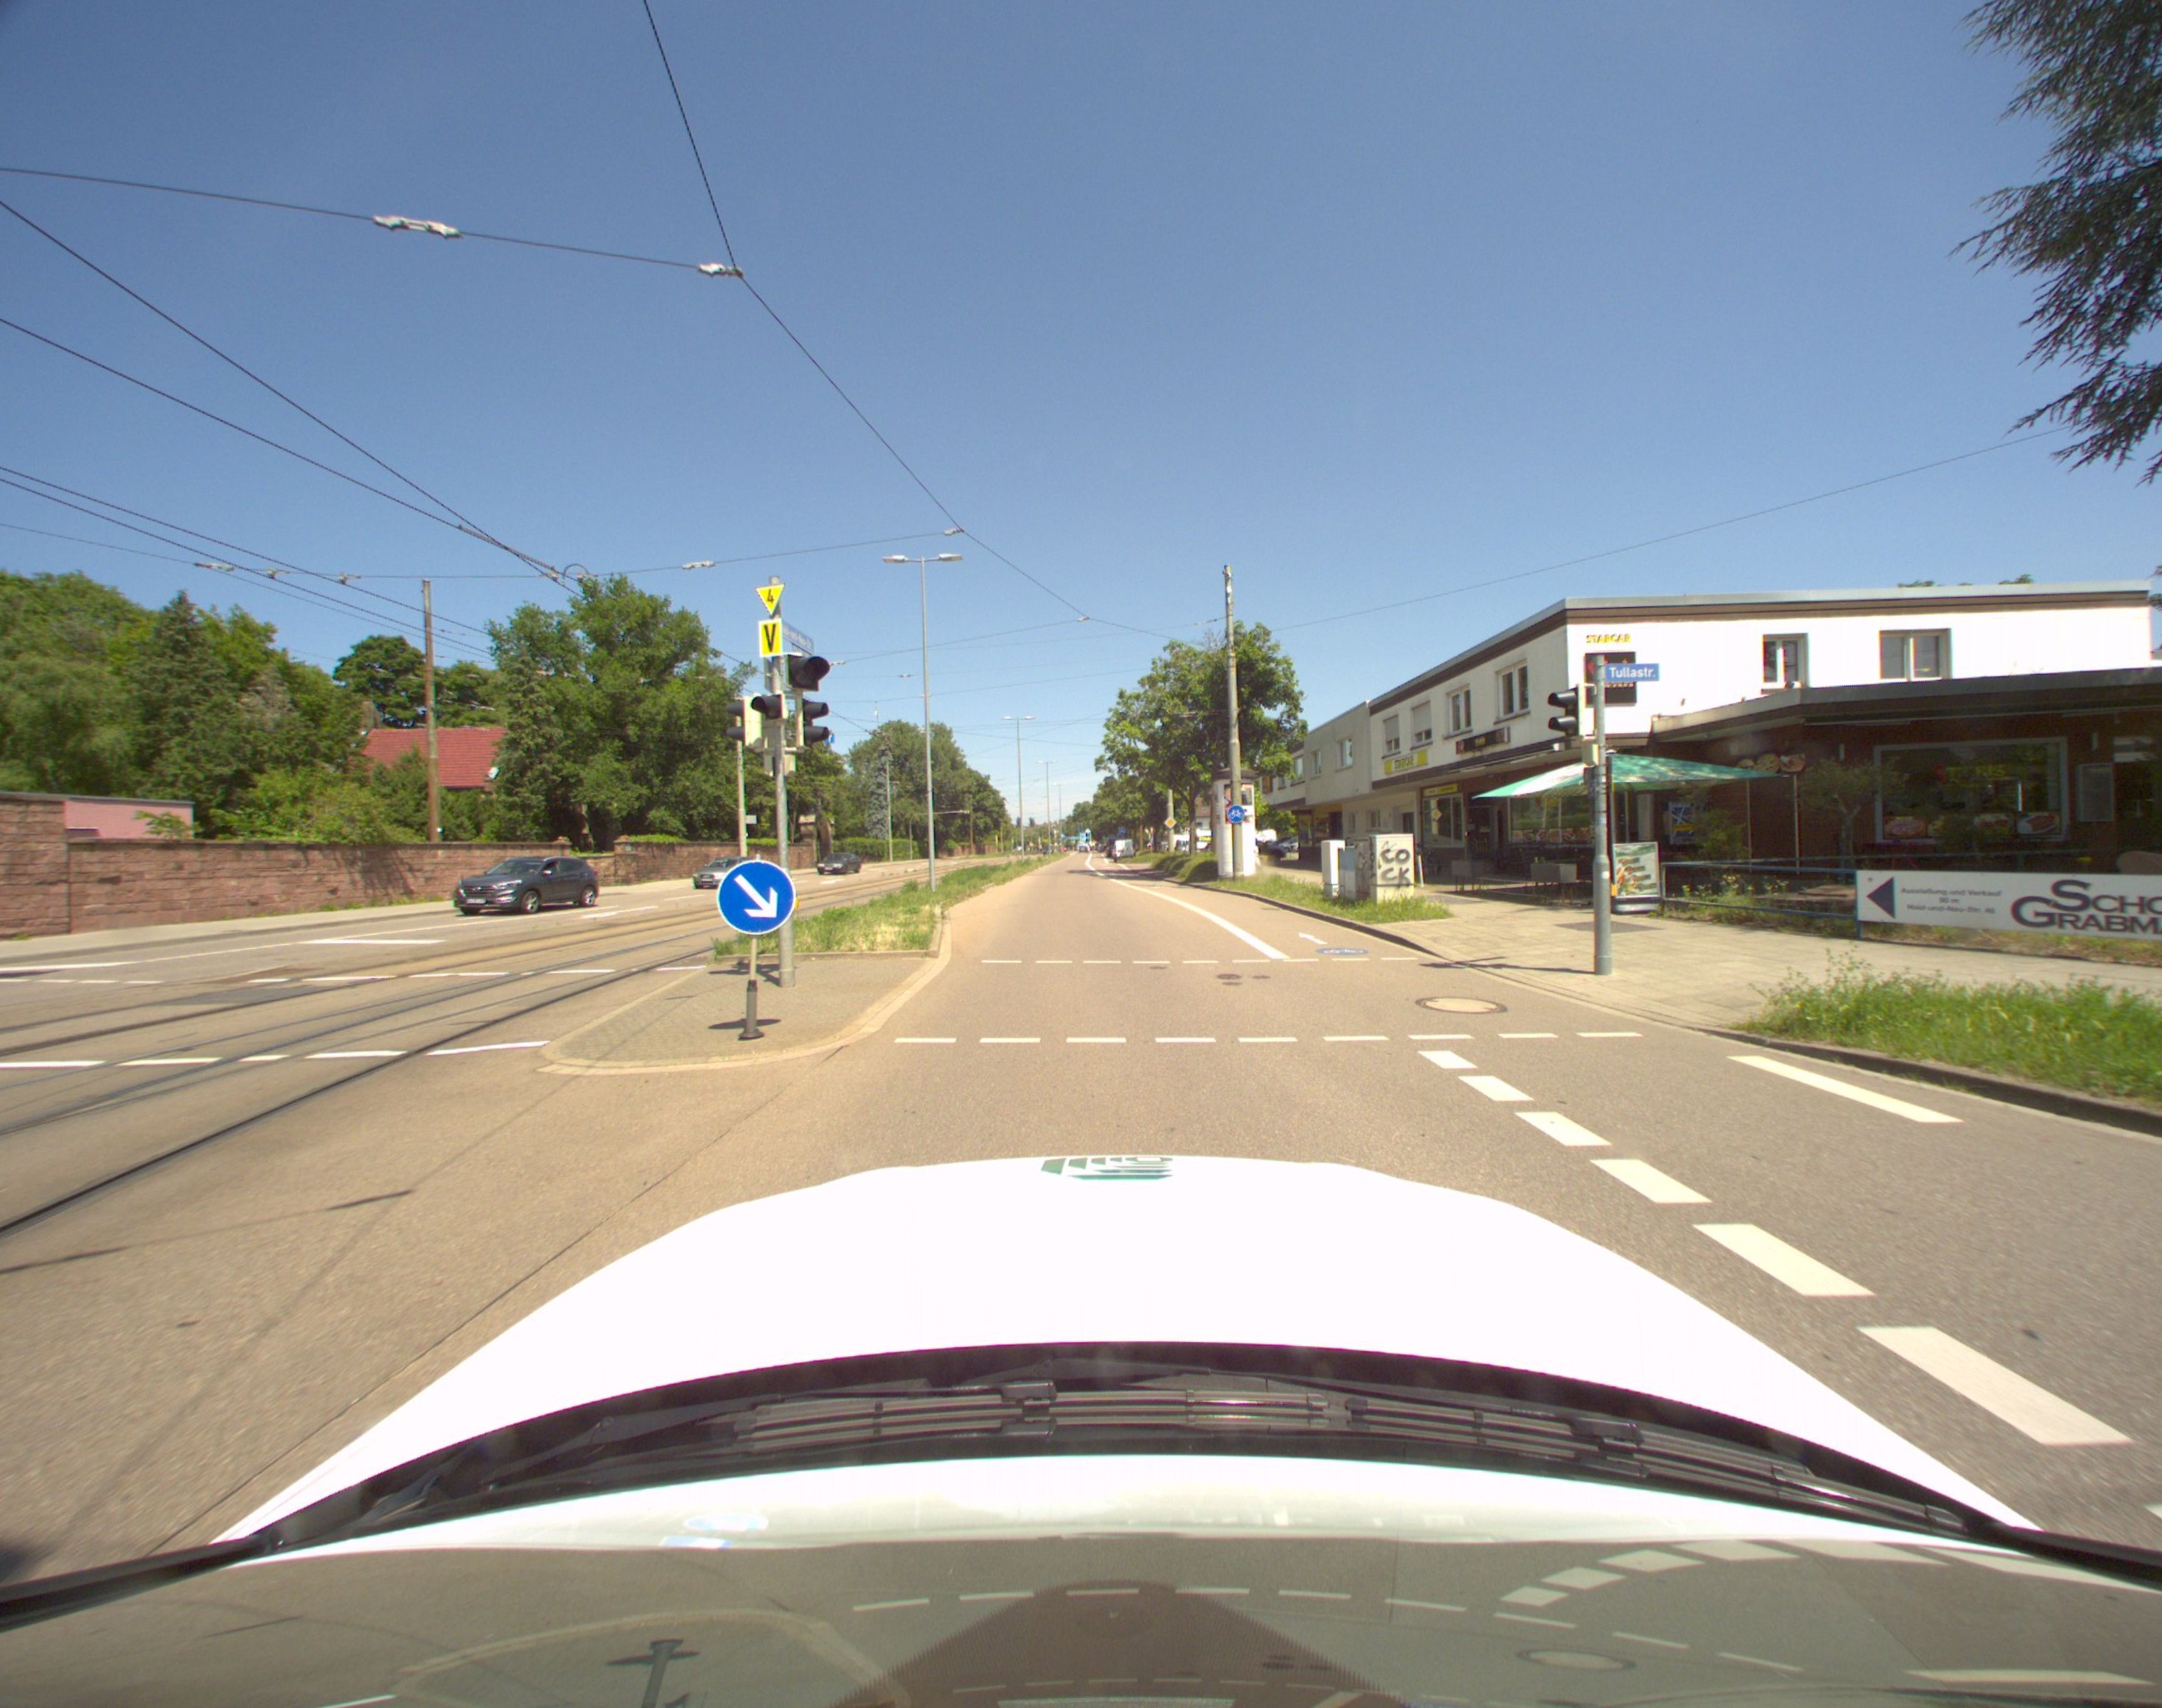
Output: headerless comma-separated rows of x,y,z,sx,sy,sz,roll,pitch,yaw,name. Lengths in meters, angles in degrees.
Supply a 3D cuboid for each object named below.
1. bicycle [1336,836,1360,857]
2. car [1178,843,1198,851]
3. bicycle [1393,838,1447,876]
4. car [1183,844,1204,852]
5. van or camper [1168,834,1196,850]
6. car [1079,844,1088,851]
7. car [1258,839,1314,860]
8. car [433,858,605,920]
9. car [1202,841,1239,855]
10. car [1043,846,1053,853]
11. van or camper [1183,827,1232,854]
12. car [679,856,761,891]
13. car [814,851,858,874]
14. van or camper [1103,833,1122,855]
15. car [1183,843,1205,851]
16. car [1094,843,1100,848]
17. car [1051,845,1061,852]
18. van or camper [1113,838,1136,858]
13.520,-0.370,41.298,0.505,1.065,1.862,0,0,-2,bicycle
14.086,-0.933,107.452,2.578,0.962,1.149,-2,1,1,car
11.160,0.062,26.928,0.983,1.164,2.643,-2,1,8,bicycle
14.154,-0.792,102.398,2.578,0.962,1.149,-2,1,1,car
13.689,-1.630,110.825,3.547,2.145,1.602,-2,1,-1,van or camper
0.563,-1.342,163.625,1.632,1.351,3.839,-2,1,-2,car
14.509,-0.334,57.689,3.602,1.351,1.488,-2,1,-6,car
-16.477,0.950,24.203,1.813,1.603,4.522,-2,0,2,car
13.780,-0.610,80.430,3.525,1.222,1.478,-2,1,5,car
-6.040,-0.828,149.049,1.487,1.046,3.580,-2,1,0,car
13.383,-1.401,86.454,4.743,2.670,2.135,-2,1,-1,van or camper
-16.282,0.844,36.980,1.634,1.421,4.171,0,1,3,car
-15.998,0.516,53.344,1.636,1.399,4.116,0,1,0,car
3.697,-1.167,95.957,1.988,2.464,3.998,-2,1,-2,van or camper
13.838,-0.848,99.469,2.575,0.962,1.151,-2,1,5,car
4.089,-2.182,208.527,1.519,1.296,3.490,-2,1,-2,car
-3.768,-0.792,120.953,1.289,1.054,2.596,-2,1,-5,car
3.879,-0.561,73.467,1.915,1.771,4.002,-2,1,1,van or camper
